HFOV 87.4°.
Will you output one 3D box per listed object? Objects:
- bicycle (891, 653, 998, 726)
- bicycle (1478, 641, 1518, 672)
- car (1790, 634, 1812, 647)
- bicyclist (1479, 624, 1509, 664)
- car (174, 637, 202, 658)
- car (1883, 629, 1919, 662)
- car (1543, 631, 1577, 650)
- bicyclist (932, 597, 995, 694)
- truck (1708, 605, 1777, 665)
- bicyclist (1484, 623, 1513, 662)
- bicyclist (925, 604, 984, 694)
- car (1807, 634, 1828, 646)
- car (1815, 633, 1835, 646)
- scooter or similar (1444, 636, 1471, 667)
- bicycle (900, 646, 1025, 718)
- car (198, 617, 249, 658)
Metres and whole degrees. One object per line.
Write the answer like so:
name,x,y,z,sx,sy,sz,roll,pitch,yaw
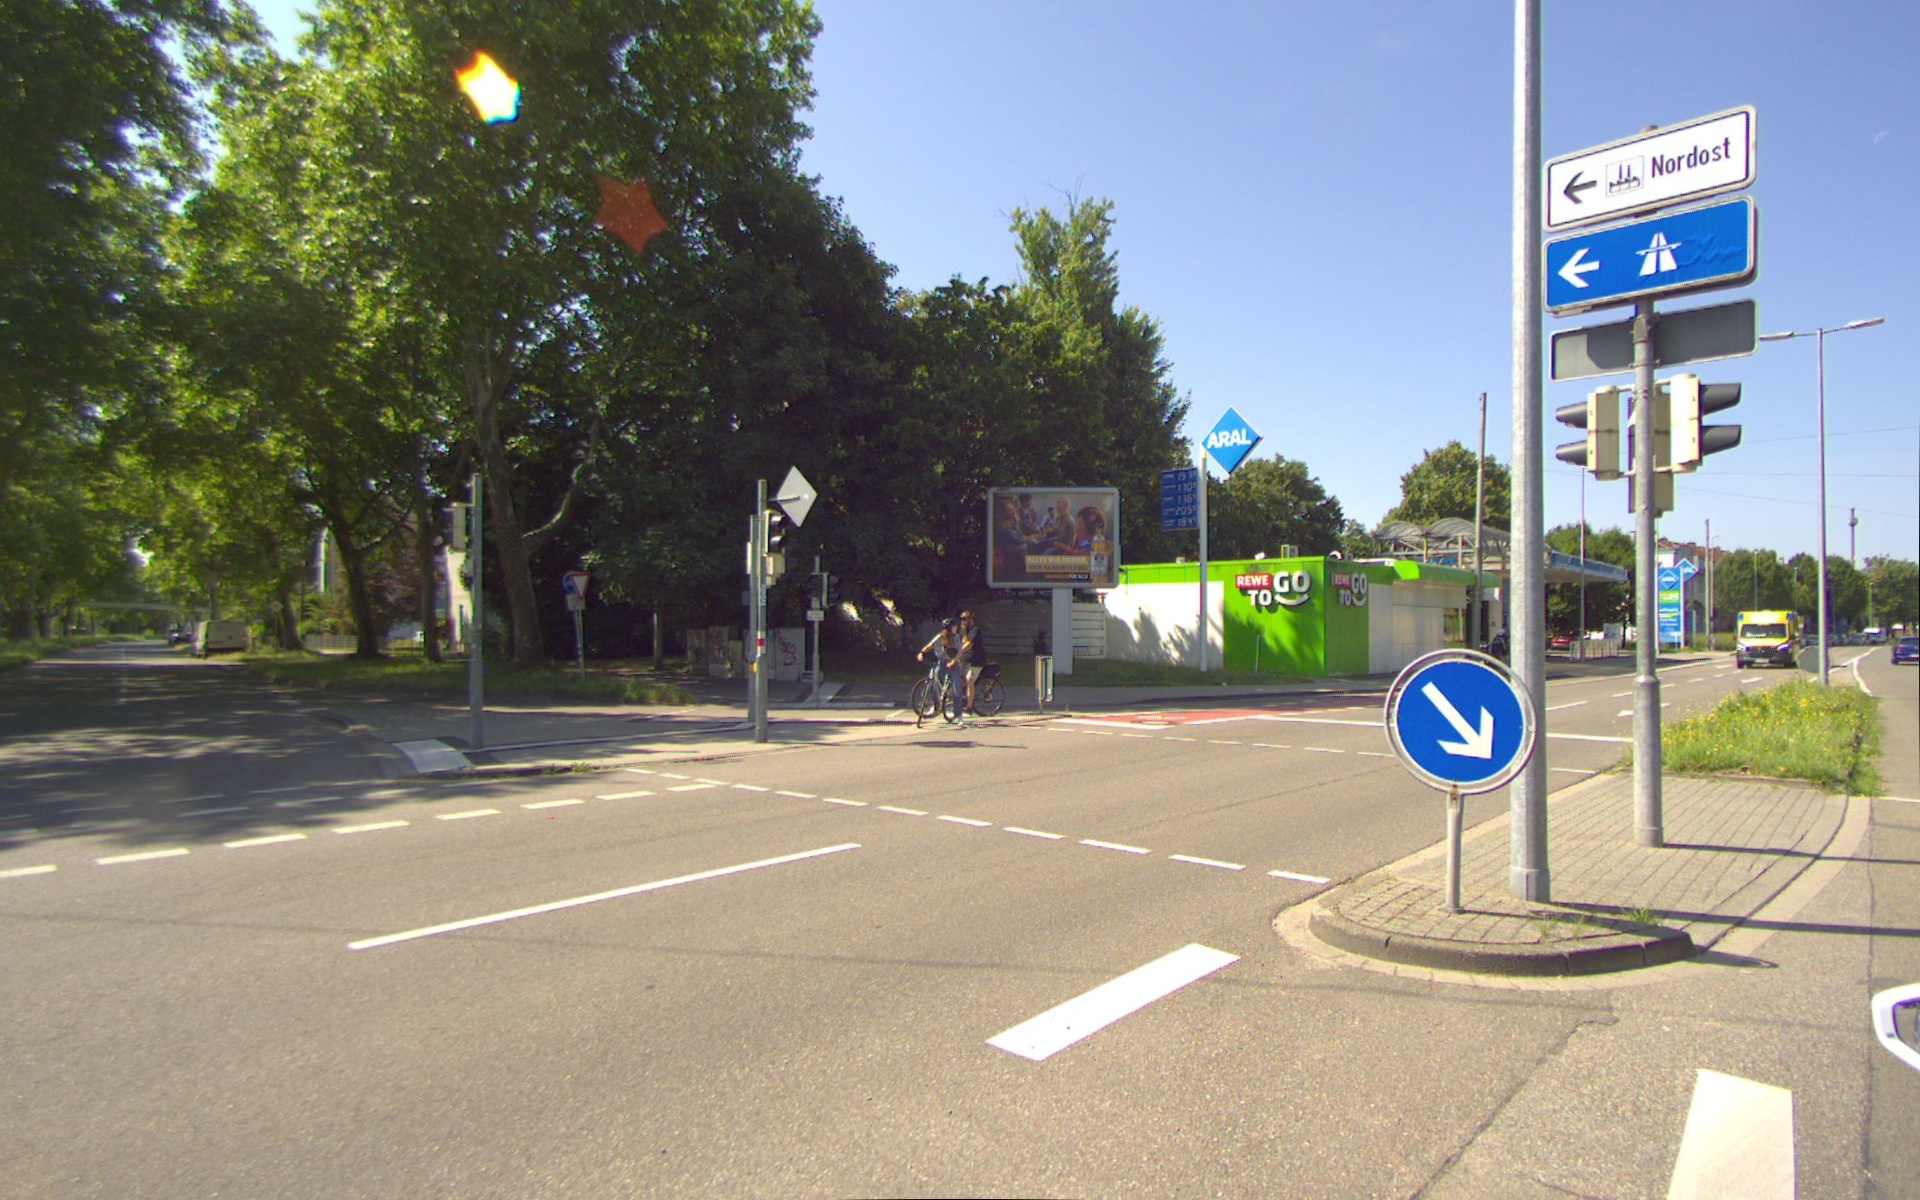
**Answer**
bicycle,-0.218,1.430,16.534,0.740,1.072,2.070,-1,-2,34
bicycle,20.492,2.122,38.242,0.815,1.109,2.760,-2,-2,39
car,108.353,5.200,129.404,1.762,1.503,4.828,1,-2,44
bicyclist,20.020,1.644,37.651,0.837,1.455,0.828,0,0,41
car,-59.015,3.623,76.767,1.688,1.506,3.875,1,-2,-38
car,48.170,2.283,51.028,1.782,1.527,3.975,0,-1,44
car,54.165,3.670,90.692,1.780,1.591,4.492,-2,-1,42
bicyclist,0.060,0.795,18.213,0.819,1.696,0.829,-1,0,-36
truck,38.533,1.708,49.346,2.304,2.703,7.323,-2,-3,40
bicyclist,20.532,1.621,38.280,0.836,1.455,0.829,-1,-2,38
bicyclist,-0.088,0.787,16.670,0.698,1.439,0.737,0,0,34
car,117.674,5.470,137.840,4.281,1.646,1.701,2,-1,-43
car,121.822,5.574,141.451,4.837,1.746,1.752,2,-1,-44
scooter or similar,20.339,2.097,41.089,1.333,1.253,0.438,1,-2,-38
bicycle,0.065,1.454,18.289,2.191,1.190,0.930,1,-2,-38
car,-44.145,2.205,60.159,1.985,2.346,4.602,1,-2,-42
